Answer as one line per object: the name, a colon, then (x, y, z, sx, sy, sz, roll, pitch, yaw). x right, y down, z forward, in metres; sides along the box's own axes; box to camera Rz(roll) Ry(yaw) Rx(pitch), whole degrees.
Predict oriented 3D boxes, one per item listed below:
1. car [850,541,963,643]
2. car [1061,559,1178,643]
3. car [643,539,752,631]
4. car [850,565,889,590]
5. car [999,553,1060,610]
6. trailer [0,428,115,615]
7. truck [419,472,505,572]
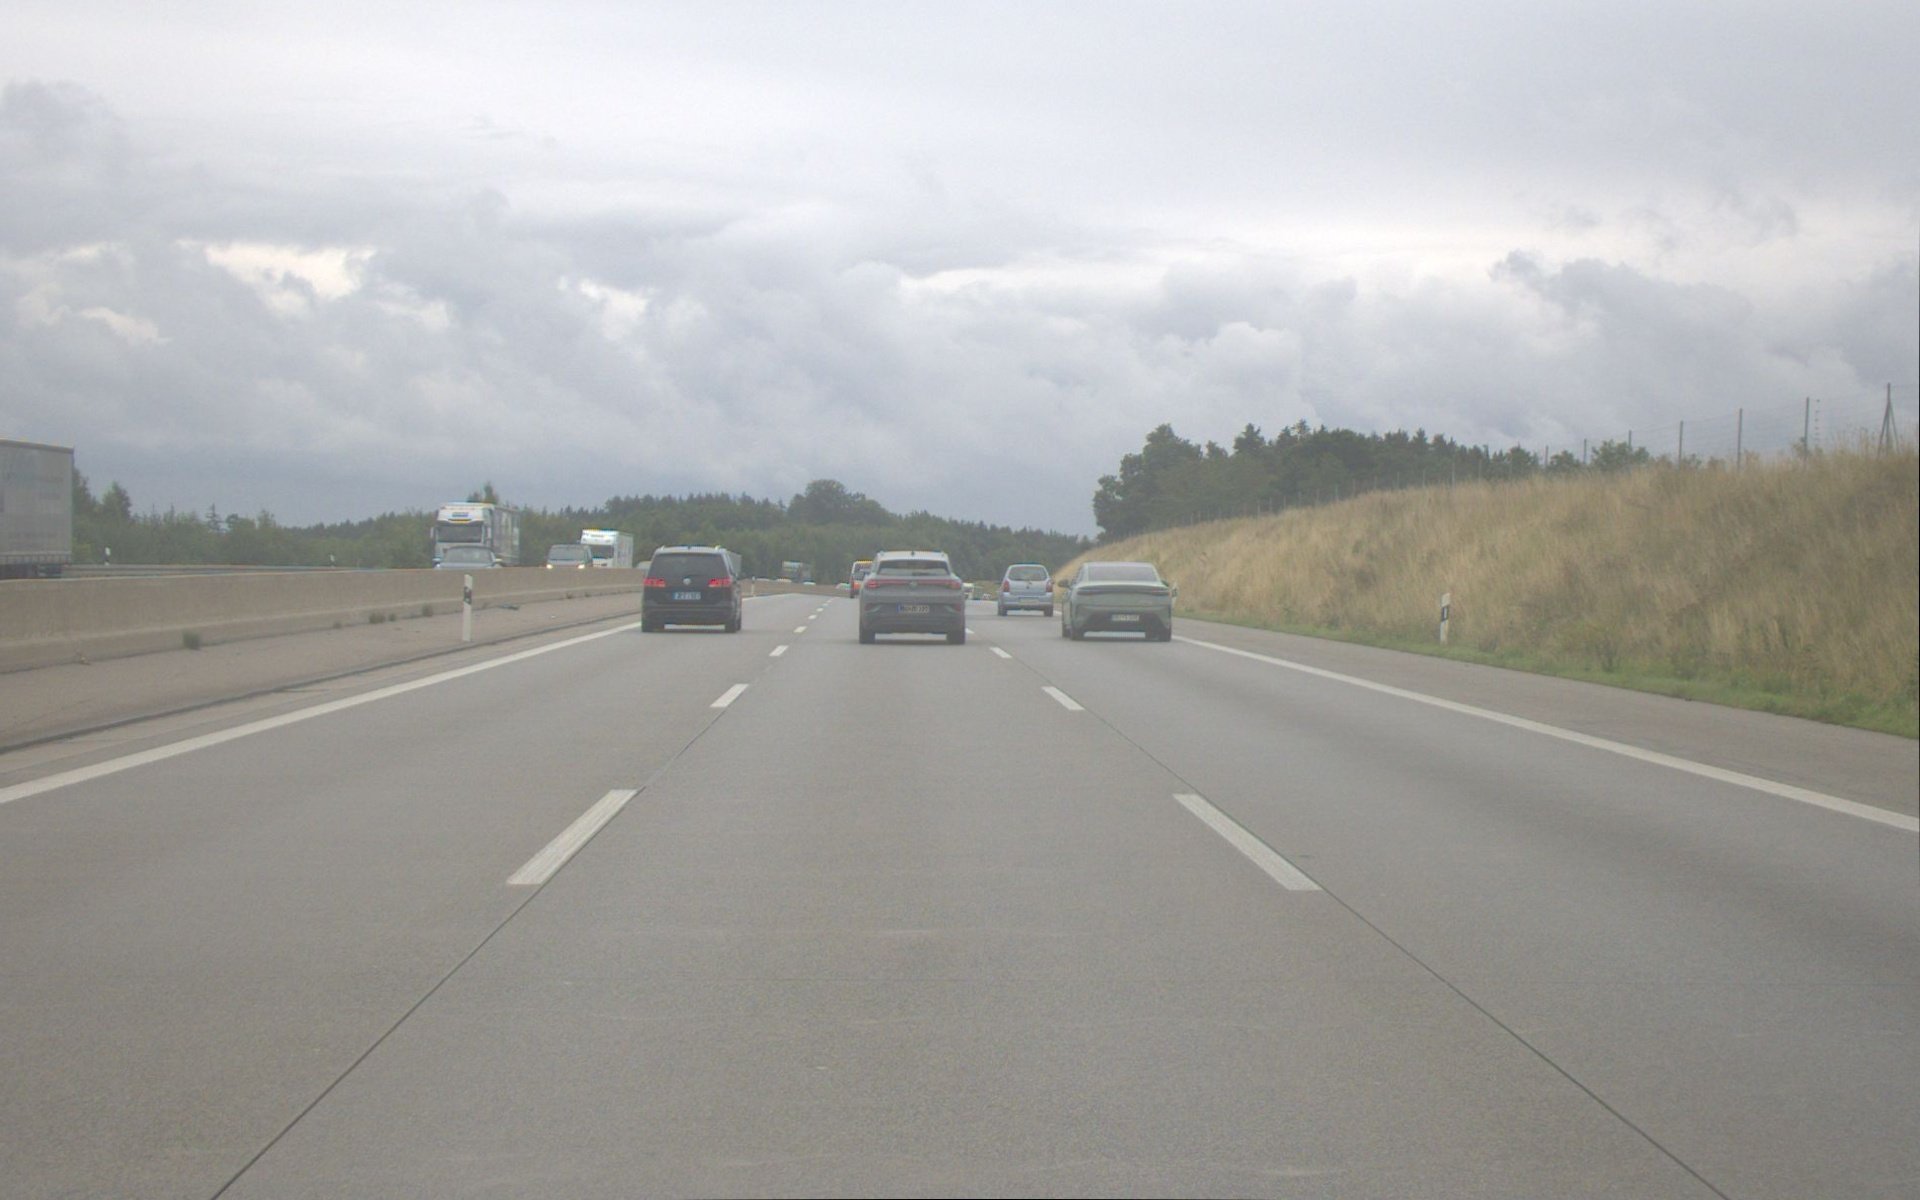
car: (-0.906, -0.179, 61.079, 1.898, 1.684, 5.266, 1, 1, 0)
car: (2.962, -0.009, 64.661, 2.014, 1.441, 4.745, 1, 1, 1)
car: (-5.159, -0.323, 67.974, 1.785, 1.741, 3.915, 1, 1, 1)
car: (-4.731, -1.183, 180.252, 1.798, 1.217, 4.000, 1, 1, 2)
car: (1.936, -0.524, 96.813, 1.485, 1.465, 3.505, 3, 1, -2)
trailer: (-21.158, -1.707, 74.399, 2.849, 3.824, 12.400, 1, 1, -1)
truck: (-24.609, -3.855, 170.102, 3.587, 4.802, 5.869, 1, 1, -2)
